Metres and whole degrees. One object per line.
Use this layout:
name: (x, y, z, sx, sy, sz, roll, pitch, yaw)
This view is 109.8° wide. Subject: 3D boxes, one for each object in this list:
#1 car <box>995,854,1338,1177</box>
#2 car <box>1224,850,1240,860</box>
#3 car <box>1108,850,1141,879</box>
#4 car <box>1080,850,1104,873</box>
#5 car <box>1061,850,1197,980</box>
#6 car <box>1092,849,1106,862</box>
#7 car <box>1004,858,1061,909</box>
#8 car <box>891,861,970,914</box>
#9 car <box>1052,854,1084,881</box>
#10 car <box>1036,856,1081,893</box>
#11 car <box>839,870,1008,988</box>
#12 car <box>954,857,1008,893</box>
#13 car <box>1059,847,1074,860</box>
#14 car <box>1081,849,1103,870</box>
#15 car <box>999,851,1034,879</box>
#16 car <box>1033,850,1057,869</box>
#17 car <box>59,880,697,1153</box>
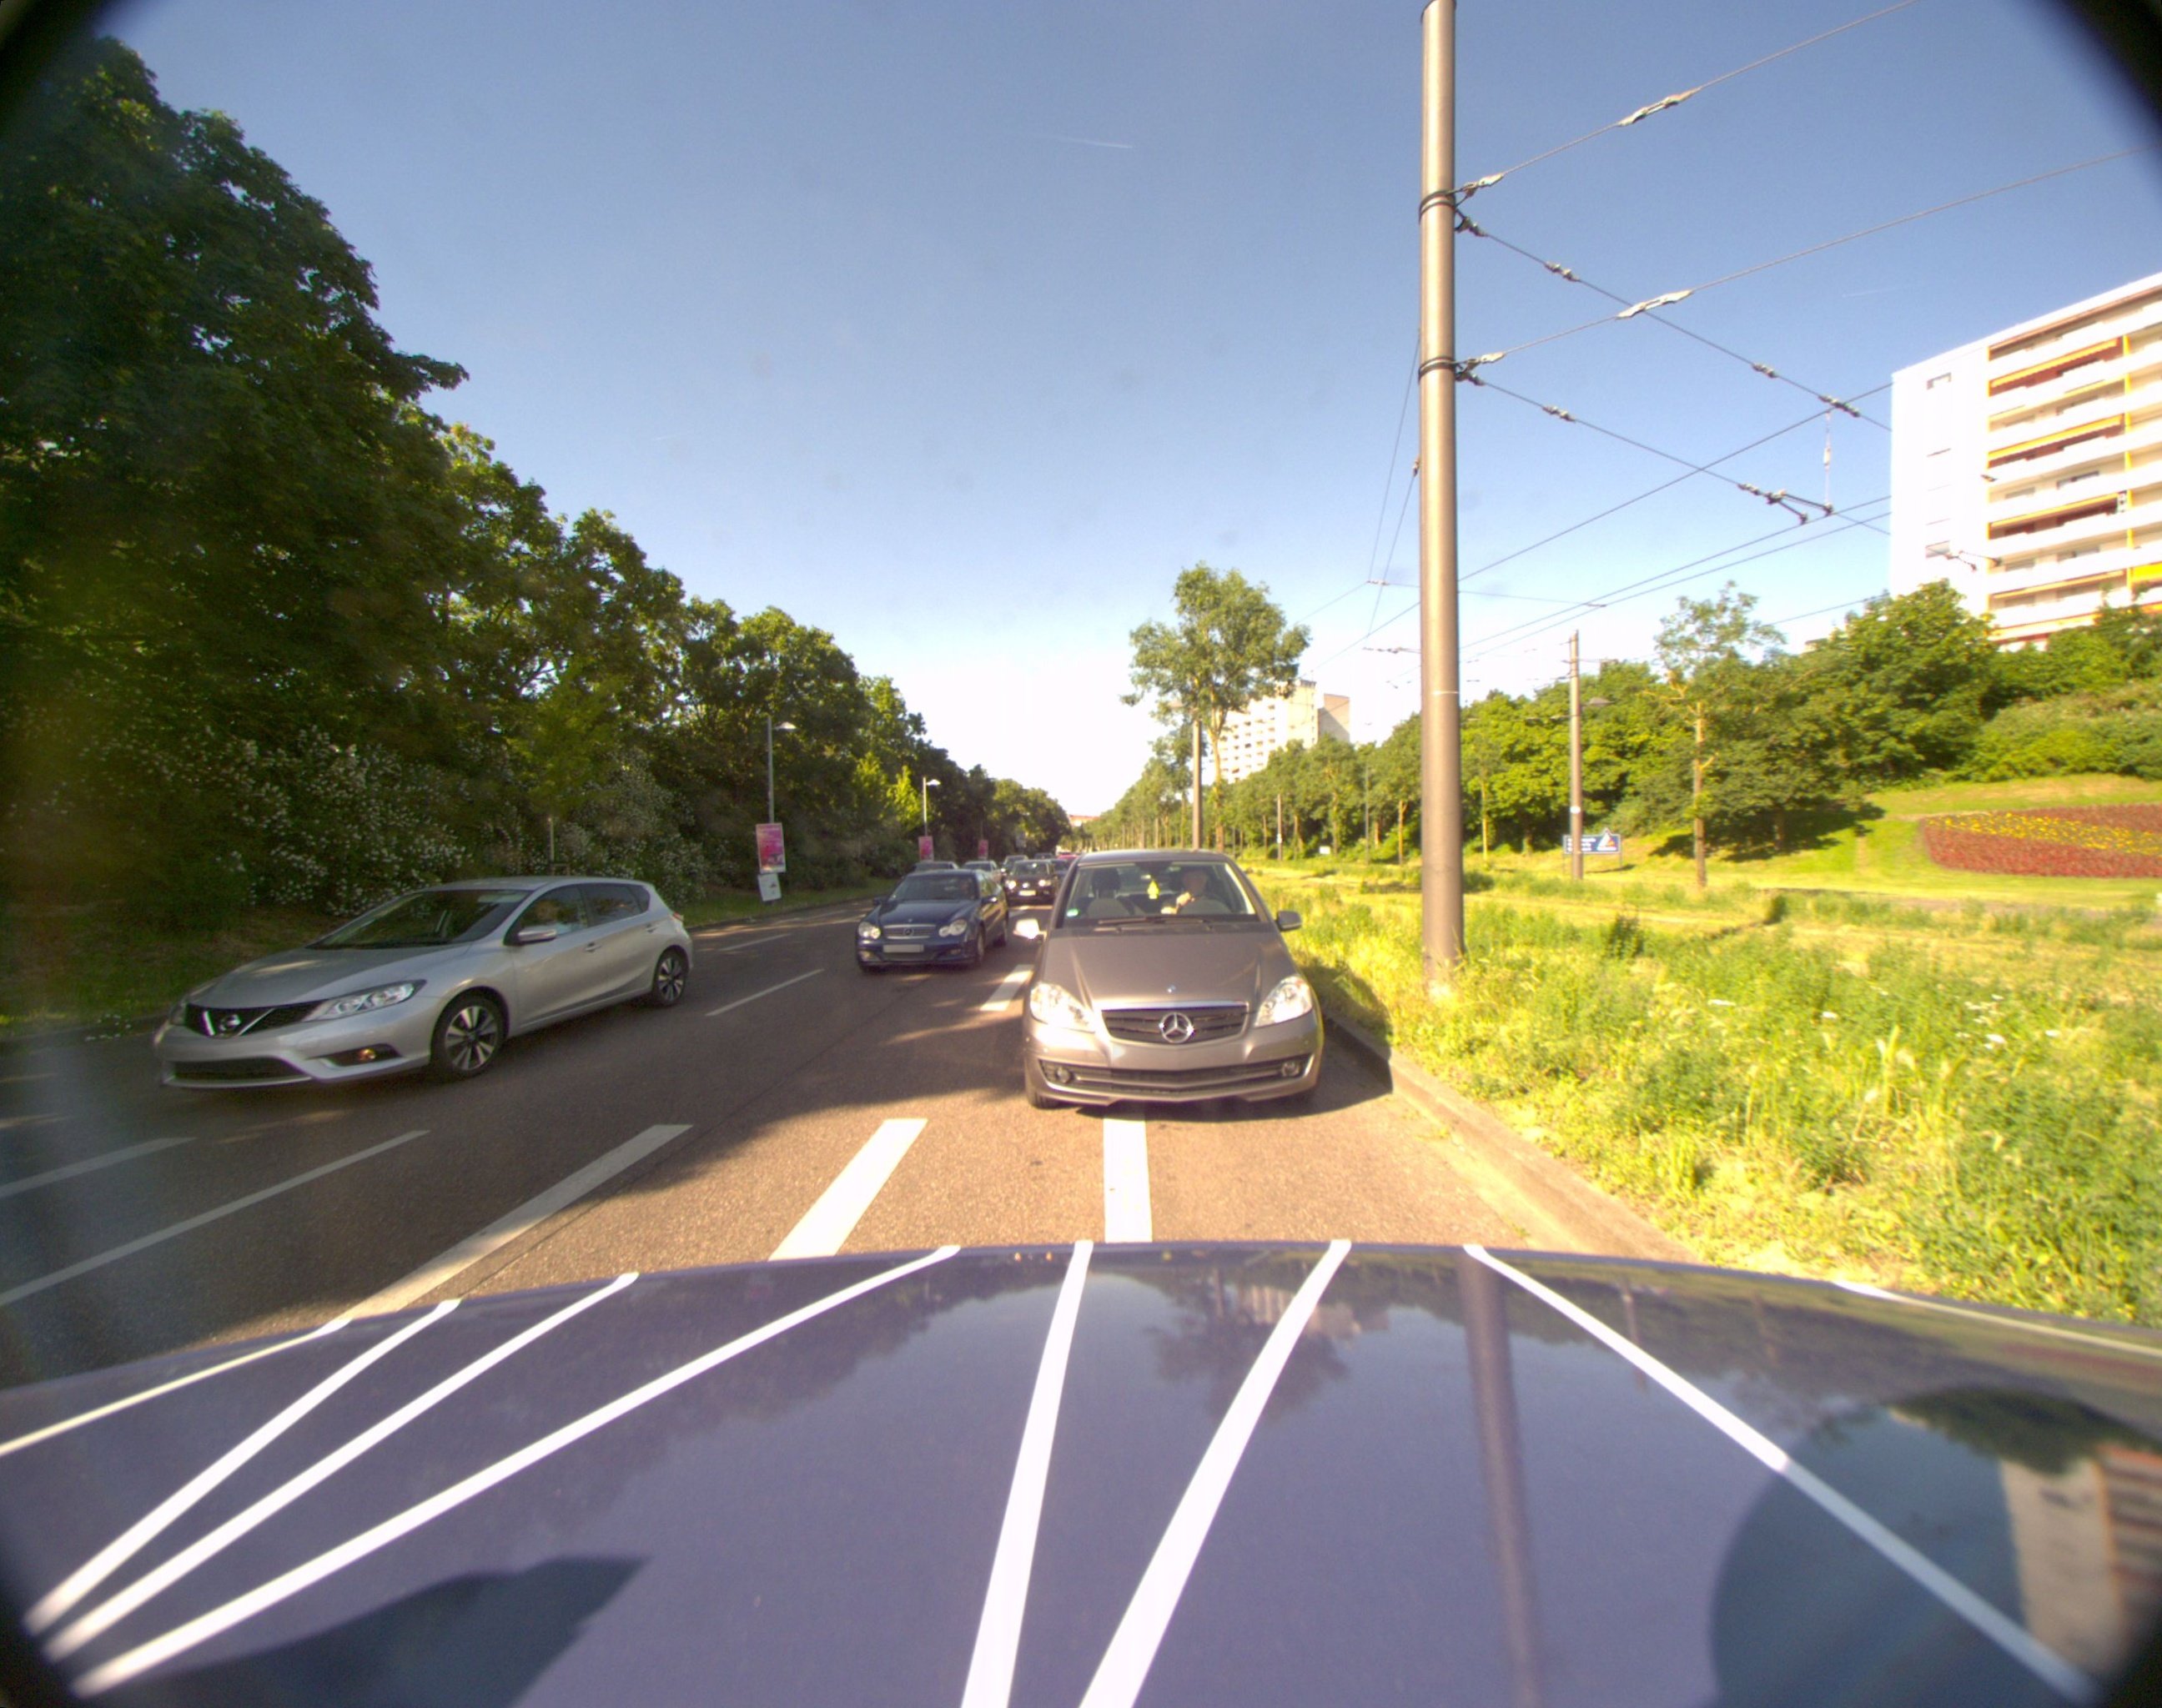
car: (0.478, 0.858, 6.010, 1.749, 1.630, 4.000, -2, 0, 1)
car: (22.309, 0.179, 112.449, 1.578, 1.412, 3.909, -2, 0, 1)
car: (2.546, 0.608, 45.383, 1.749, 1.652, 4.000, -1, 0, 1)
car: (0.879, 0.535, 58.854, 1.749, 1.652, 3.999, -2, 1, 1)
car: (0.671, 0.807, 12.165, 1.749, 1.652, 3.999, -2, 1, 1)
car: (2.266, 0.218, 96.323, 1.630, 1.556, 3.812, -2, 1, 1)
car: (-1.542, 0.913, 25.362, 1.621, 1.485, 3.452, -2, 1, 0)
car: (-4.854, 1.046, 25.016, 1.713, 1.485, 3.963, -2, 0, 1)
car: (-0.721, 0.757, 45.261, 1.685, 1.437, 3.727, -2, 1, 2)
car: (-0.913, 0.862, 33.279, 1.713, 1.430, 4.171, -2, 0, 1)
car: (-2.247, 1.026, 11.954, 1.723, 1.411, 4.050, -1, 0, 1)
car: (-4.482, 0.918, 34.692, 1.749, 1.427, 4.386, -2, 1, 2)
car: (-1.842, -0.068, 96.195, 1.713, 1.485, 3.963, -2, 0, 1)
car: (0.956, 0.480, 65.039, 1.749, 1.652, 3.999, -2, 1, 1)
car: (-4.030, 0.671, 48.001, 1.749, 1.652, 4.000, -1, 0, 1)
car: (-3.032, 0.470, 64.131, 1.713, 1.485, 3.963, -2, 0, 1)
car: (-5.468, 1.101, 6.834, 1.725, 1.508, 4.138, -2, 0, 2)
